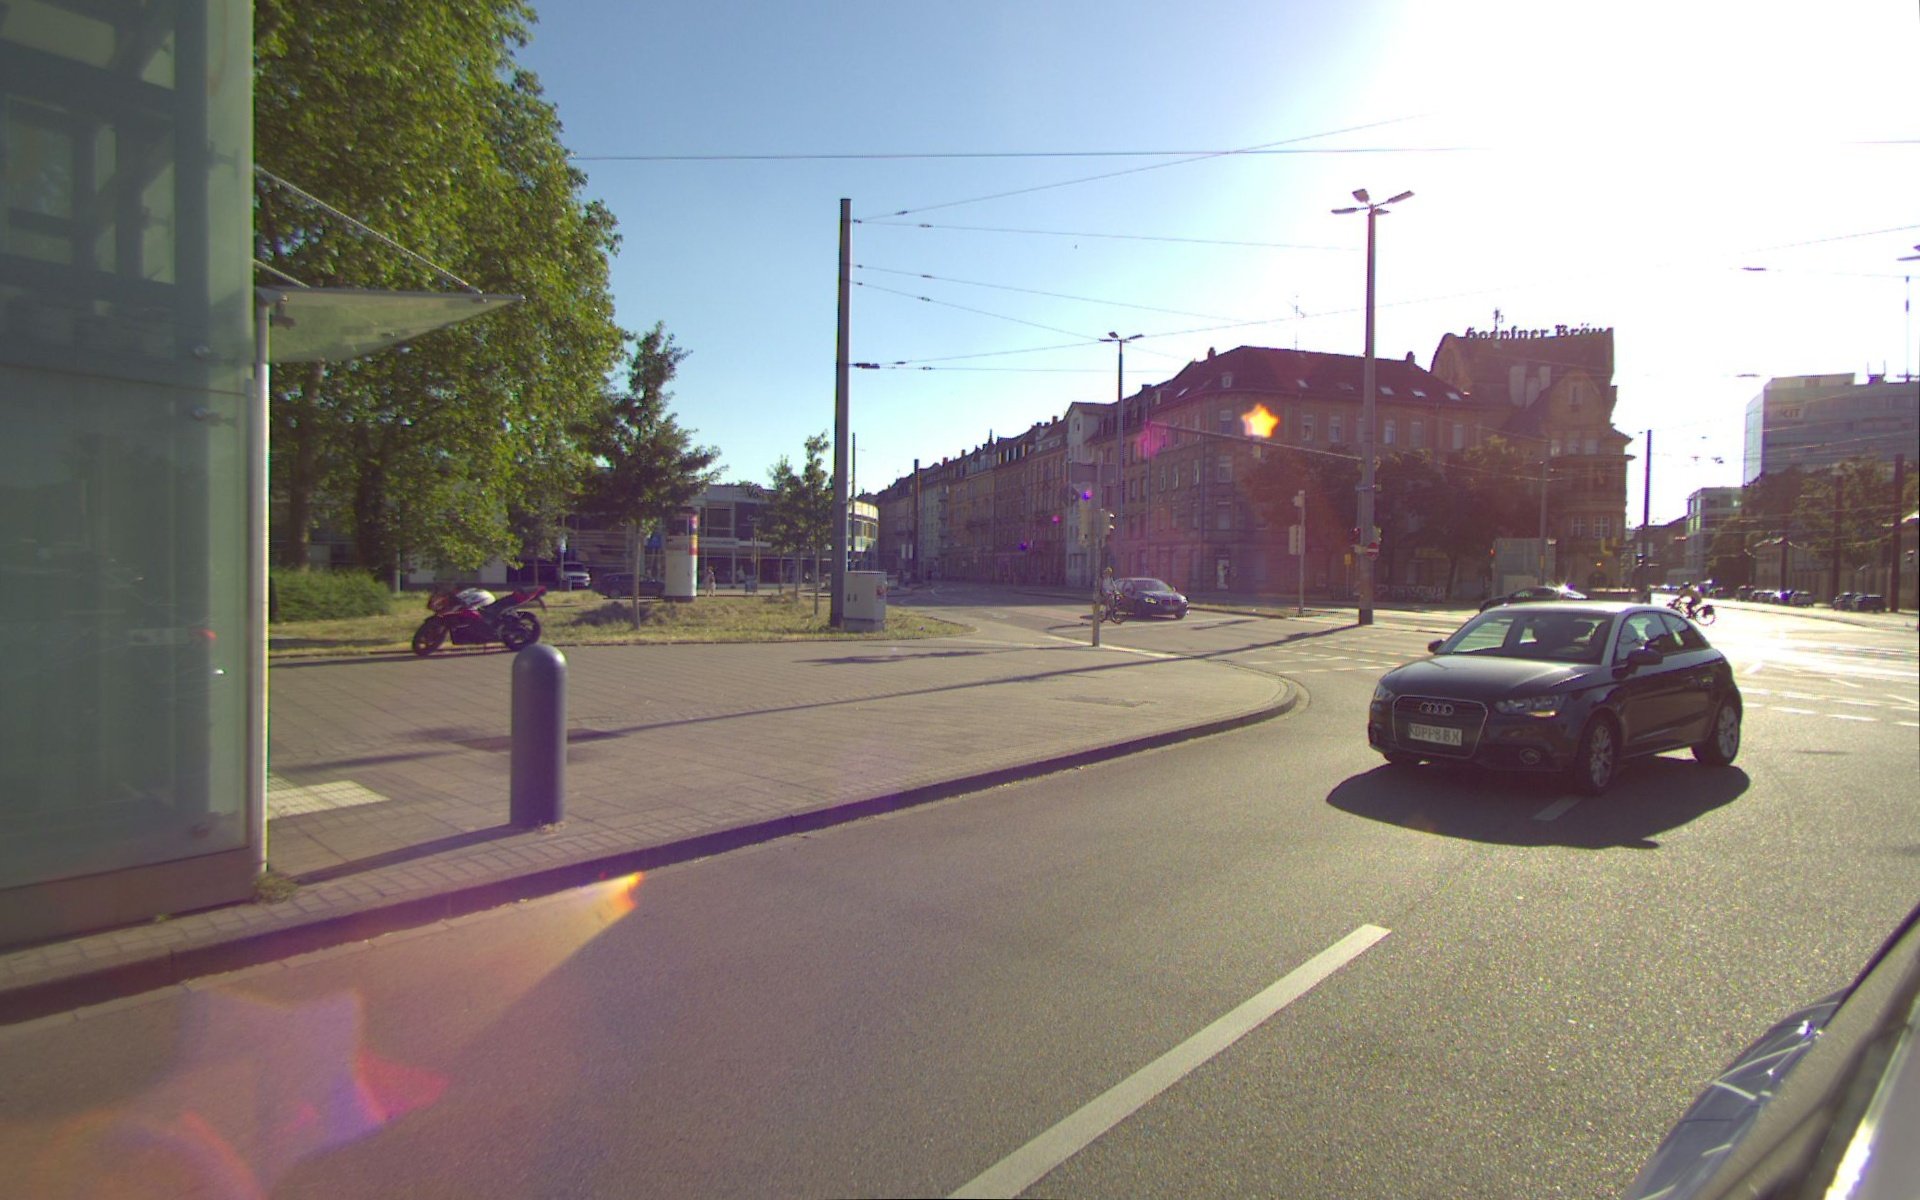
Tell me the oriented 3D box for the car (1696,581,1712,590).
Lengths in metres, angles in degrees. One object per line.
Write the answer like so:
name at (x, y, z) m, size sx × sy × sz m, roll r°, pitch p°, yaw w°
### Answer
car at (130.700, -2.531, 177.865) m, size 1.742 × 1.482 × 3.976 m, roll 1°, pitch 0°, yaw 30°

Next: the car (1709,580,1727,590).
car at (122.428, -2.479, 163.462) m, size 1.742 × 1.482 × 3.976 m, roll 1°, pitch 0°, yaw 30°

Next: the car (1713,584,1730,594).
car at (120.168, -1.799, 159.735) m, size 1.742 × 1.482 × 3.976 m, roll 1°, pitch 0°, yaw 30°

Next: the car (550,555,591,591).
car at (-24.317, -1.722, 63.073) m, size 1.959 × 2.039 × 4.008 m, roll 3°, pitch 1°, yaw -26°

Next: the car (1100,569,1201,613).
car at (6.972, -0.370, 37.406) m, size 1.958 × 1.471 × 4.010 m, roll 0°, pitch 2°, yaw -18°

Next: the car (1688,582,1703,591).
car at (133.092, -2.443, 183.025) m, size 1.742 × 1.482 × 3.976 m, roll 1°, pitch 0°, yaw 30°

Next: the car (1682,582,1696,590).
car at (138.473, -2.679, 192.179) m, size 1.742 × 1.482 × 3.976 m, roll 1°, pitch 0°, yaw 30°

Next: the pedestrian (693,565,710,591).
pedestrian at (-15.347, -1.328, 60.123) m, size 0.710 × 1.534 × 0.831 m, roll 0°, pitch 2°, yaw -38°

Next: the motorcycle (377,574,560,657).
motorcycle at (-7.203, 0.183, 14.959) m, size 1.031 × 1.087 × 2.260 m, roll 3°, pitch 3°, yaw 28°

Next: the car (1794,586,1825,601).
car at (90.200, -0.664, 107.497) m, size 1.742 × 1.482 × 3.976 m, roll 1°, pitch 0°, yaw 30°

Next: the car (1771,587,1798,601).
car at (95.199, -0.717, 116.915) m, size 1.742 × 1.482 × 3.976 m, roll 1°, pitch 0°, yaw 30°

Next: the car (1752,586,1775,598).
car at (101.615, -1.009, 128.007) m, size 1.742 × 1.482 × 3.976 m, roll 1°, pitch 0°, yaw 30°

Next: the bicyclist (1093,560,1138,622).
bicyclist at (5.216, -0.330, 33.955) m, size 1.013 × 2.038 × 1.146 m, roll -1°, pitch 2°, yaw -27°

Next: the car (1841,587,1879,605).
car at (80.730, -0.357, 90.806) m, size 1.742 × 1.482 × 3.976 m, roll 1°, pitch 0°, yaw 30°

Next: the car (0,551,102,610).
car at (-32.221, -0.700, 34.726) m, size 1.849 × 1.892 × 3.940 m, roll 4°, pitch 1°, yaw 41°

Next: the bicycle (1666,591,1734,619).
bicycle at (30.147, 0.195, 41.243) m, size 0.755 × 1.040 × 2.103 m, roll 1°, pitch 2°, yaw -41°

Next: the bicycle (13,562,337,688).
bicycle at (-8.175, 0.254, 10.680) m, size 1.029 × 1.137 × 2.496 m, roll 4°, pitch 1°, yaw 38°

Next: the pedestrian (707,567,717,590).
pedestrian at (-14.813, -1.283, 60.410) m, size 0.404 × 1.331 × 0.572 m, roll 0°, pitch 2°, yaw -38°

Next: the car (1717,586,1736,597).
car at (116.477, -1.330, 153.779) m, size 1.742 × 1.626 × 3.976 m, roll 1°, pitch 0°, yaw 30°

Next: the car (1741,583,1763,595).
car at (106.305, -1.481, 135.873) m, size 1.742 × 1.482 × 3.976 m, roll 1°, pitch 0°, yaw 30°

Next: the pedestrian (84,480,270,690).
pedestrian at (-8.194, -0.157, 10.611) m, size 1.029 × 2.039 × 1.253 m, roll 3°, pitch 0°, yaw 38°

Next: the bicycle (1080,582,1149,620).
bicycle at (5.174, 0.007, 34.025) m, size 1.013 × 1.137 × 2.535 m, roll -2°, pitch 3°, yaw -27°

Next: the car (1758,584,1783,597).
car at (99.165, -1.100, 123.809) m, size 1.742 × 1.482 × 3.976 m, roll 1°, pitch 0°, yaw 30°

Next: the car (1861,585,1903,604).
car at (78.000, -0.443, 85.653) m, size 1.742 × 1.482 × 3.976 m, roll 1°, pitch 0°, yaw 30°

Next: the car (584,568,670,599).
car at (-17.772, -0.884, 54.042) m, size 4.081 × 1.353 × 1.757 m, roll 3°, pitch 1°, yaw -26°

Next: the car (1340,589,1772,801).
car at (5.141, 0.629, 8.611) m, size 3.758 × 1.405 × 1.696 m, roll 0°, pitch 2°, yaw -34°

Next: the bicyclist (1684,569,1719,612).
bicyclist at (30.185, -0.385, 41.202) m, size 0.755 × 1.716 × 0.974 m, roll 1°, pitch 2°, yaw -41°

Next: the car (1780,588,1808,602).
car at (92.714, -0.587, 112.499) m, size 1.742 × 1.482 × 3.976 m, roll 1°, pitch 0°, yaw 30°

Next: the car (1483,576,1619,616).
car at (23.738, -0.208, 40.875) m, size 1.779 × 1.511 × 4.664 m, roll 1°, pitch 1°, yaw -21°
